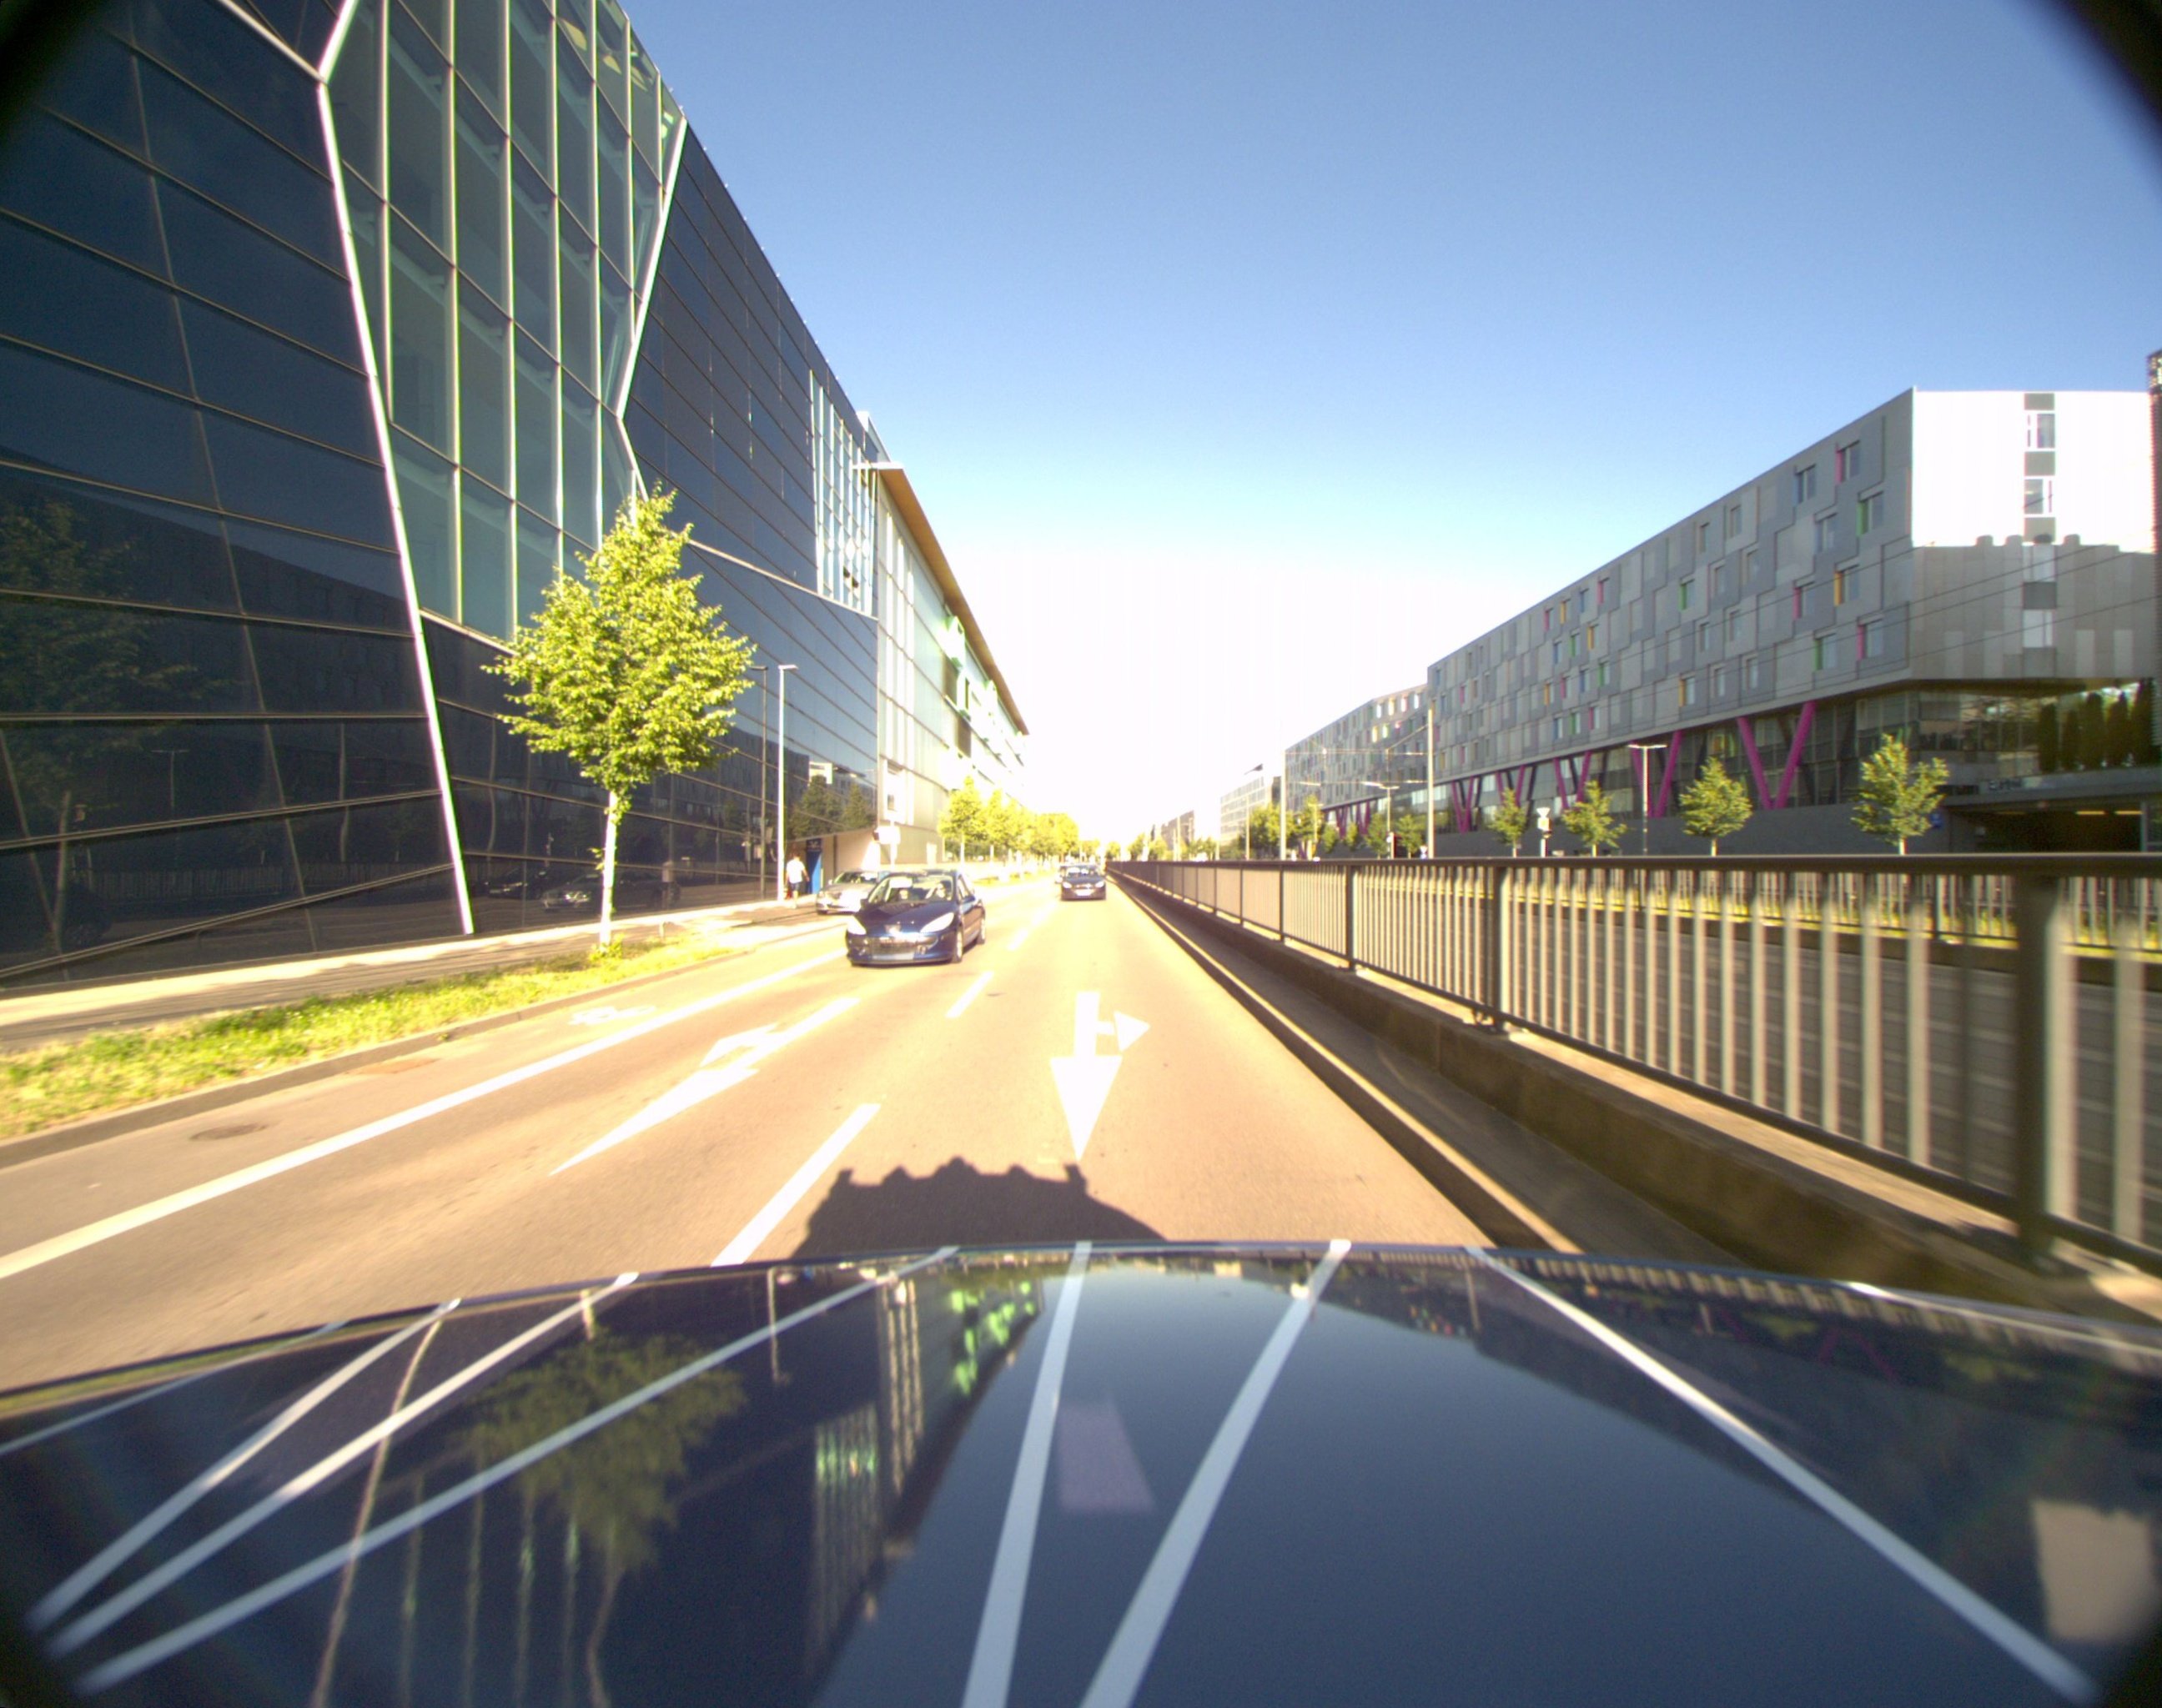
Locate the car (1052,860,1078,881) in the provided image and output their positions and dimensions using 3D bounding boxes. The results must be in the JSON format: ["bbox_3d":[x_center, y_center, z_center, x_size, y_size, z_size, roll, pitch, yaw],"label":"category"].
[{"bbox_3d":[-1.140,1.162,55.171,1.753,1.469,3.418,-2,0,1],"label":"car"}]

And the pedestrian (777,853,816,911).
[{"bbox_3d":[-9.233,0.893,24.650,0.828,1.814,0.905,3,0,1],"label":"pedestrian"}]

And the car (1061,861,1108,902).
[{"bbox_3d":[0.151,1.074,31.531,1.787,1.499,4.590,-2,0,1],"label":"car"}]

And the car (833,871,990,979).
[{"bbox_3d":[-2.732,1.087,13.159,1.753,1.469,3.972,-2,0,1],"label":"car"}]

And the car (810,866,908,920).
[{"bbox_3d":[-7.037,1.181,24.607,1.740,1.489,4.715,1,0,1],"label":"car"}]

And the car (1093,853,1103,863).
[{"bbox_3d":[3.747,0.835,167.539,1.998,2.002,4.000,-2,0,1],"label":"car"}]
